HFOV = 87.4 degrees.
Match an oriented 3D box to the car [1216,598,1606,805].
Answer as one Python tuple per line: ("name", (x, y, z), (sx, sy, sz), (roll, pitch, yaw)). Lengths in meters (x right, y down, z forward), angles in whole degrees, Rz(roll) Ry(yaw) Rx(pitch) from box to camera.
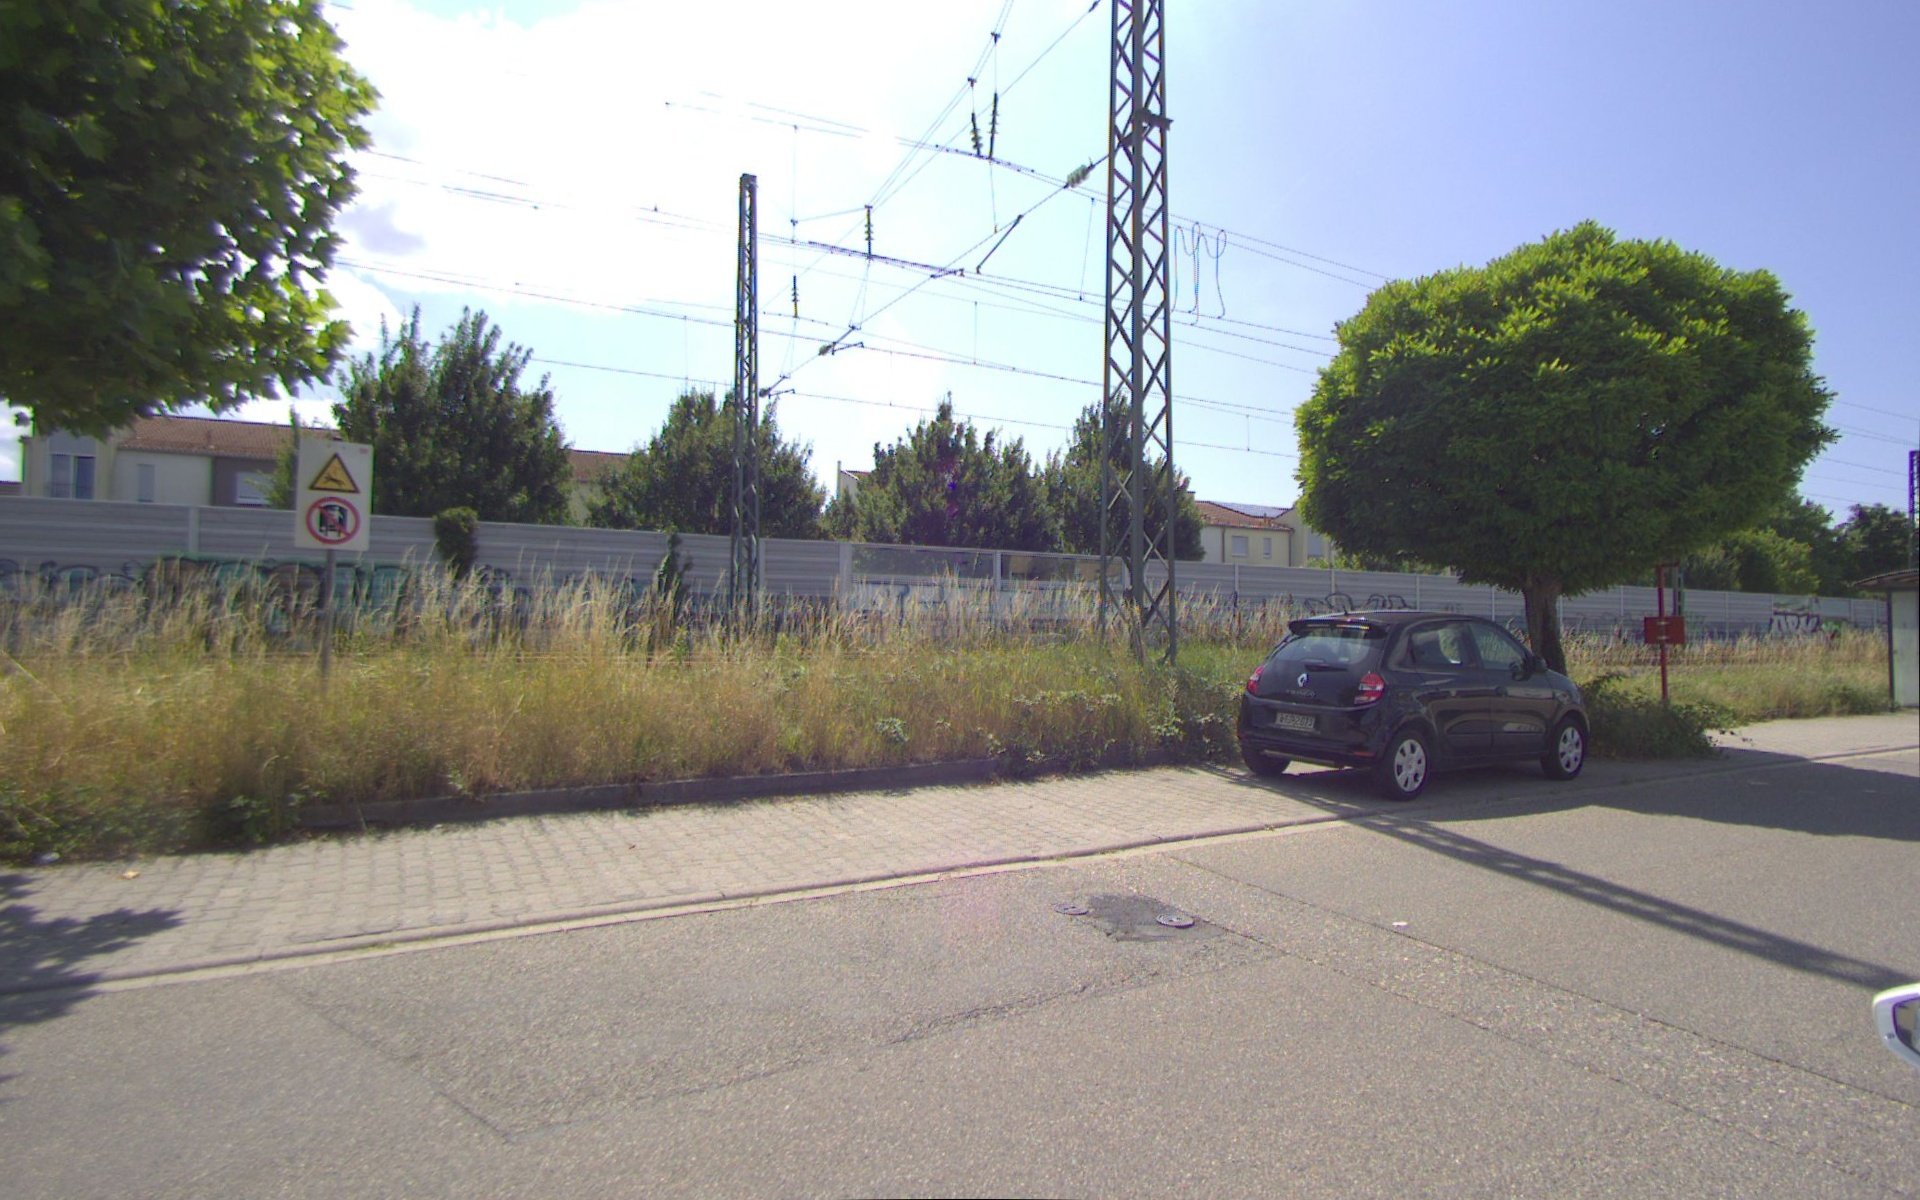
("car", (4.333, 0.845, 9.550), (3.539, 1.617, 1.732), (1, -1, -32))
